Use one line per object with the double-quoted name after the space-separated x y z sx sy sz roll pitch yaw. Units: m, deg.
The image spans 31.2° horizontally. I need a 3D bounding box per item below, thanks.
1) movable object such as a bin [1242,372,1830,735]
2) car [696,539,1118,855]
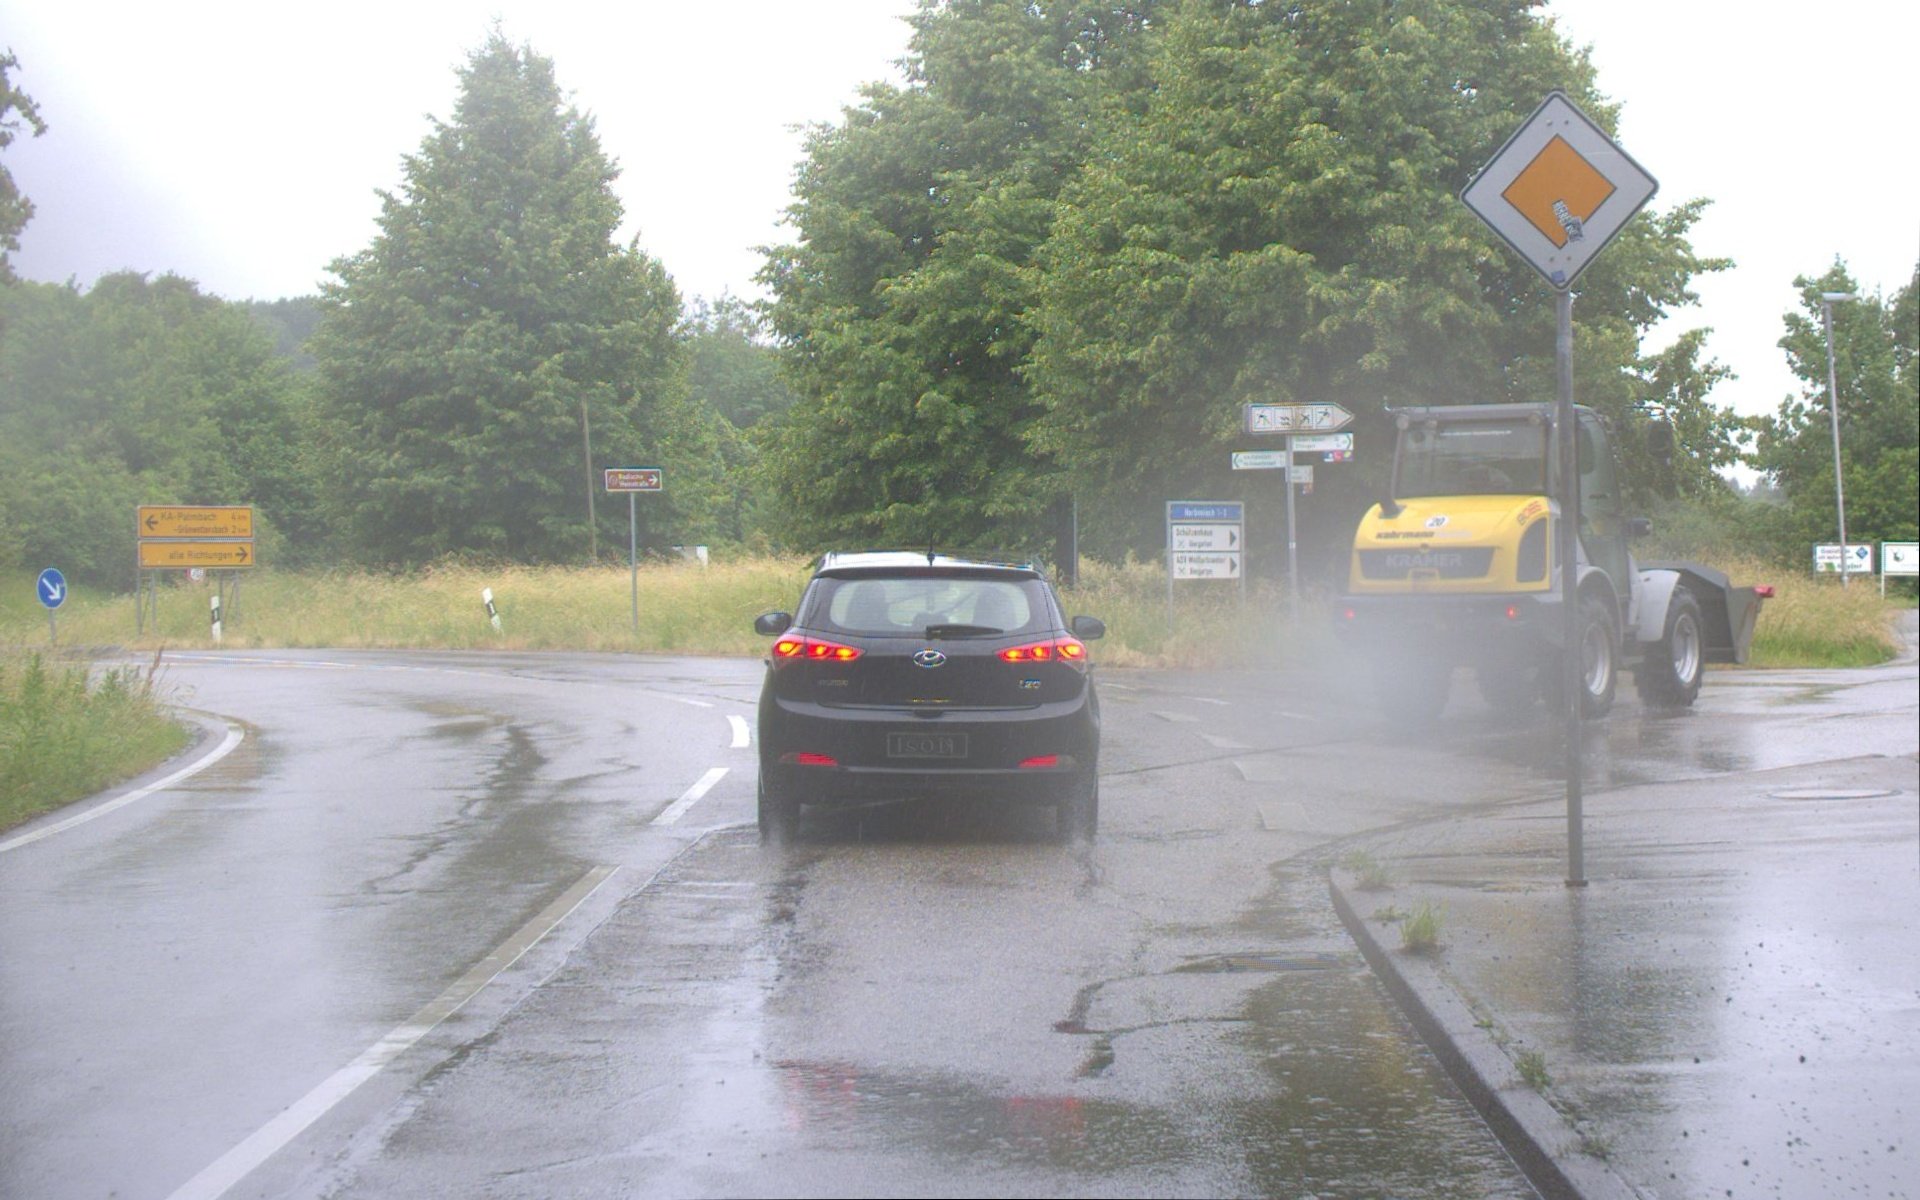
4.970 -0.359 28.594 2.250 2.660 6.613 1 1 34 "movable object such as a bin"
-0.394 0.444 18.393 1.993 1.482 4.001 1 1 -4 "car"
